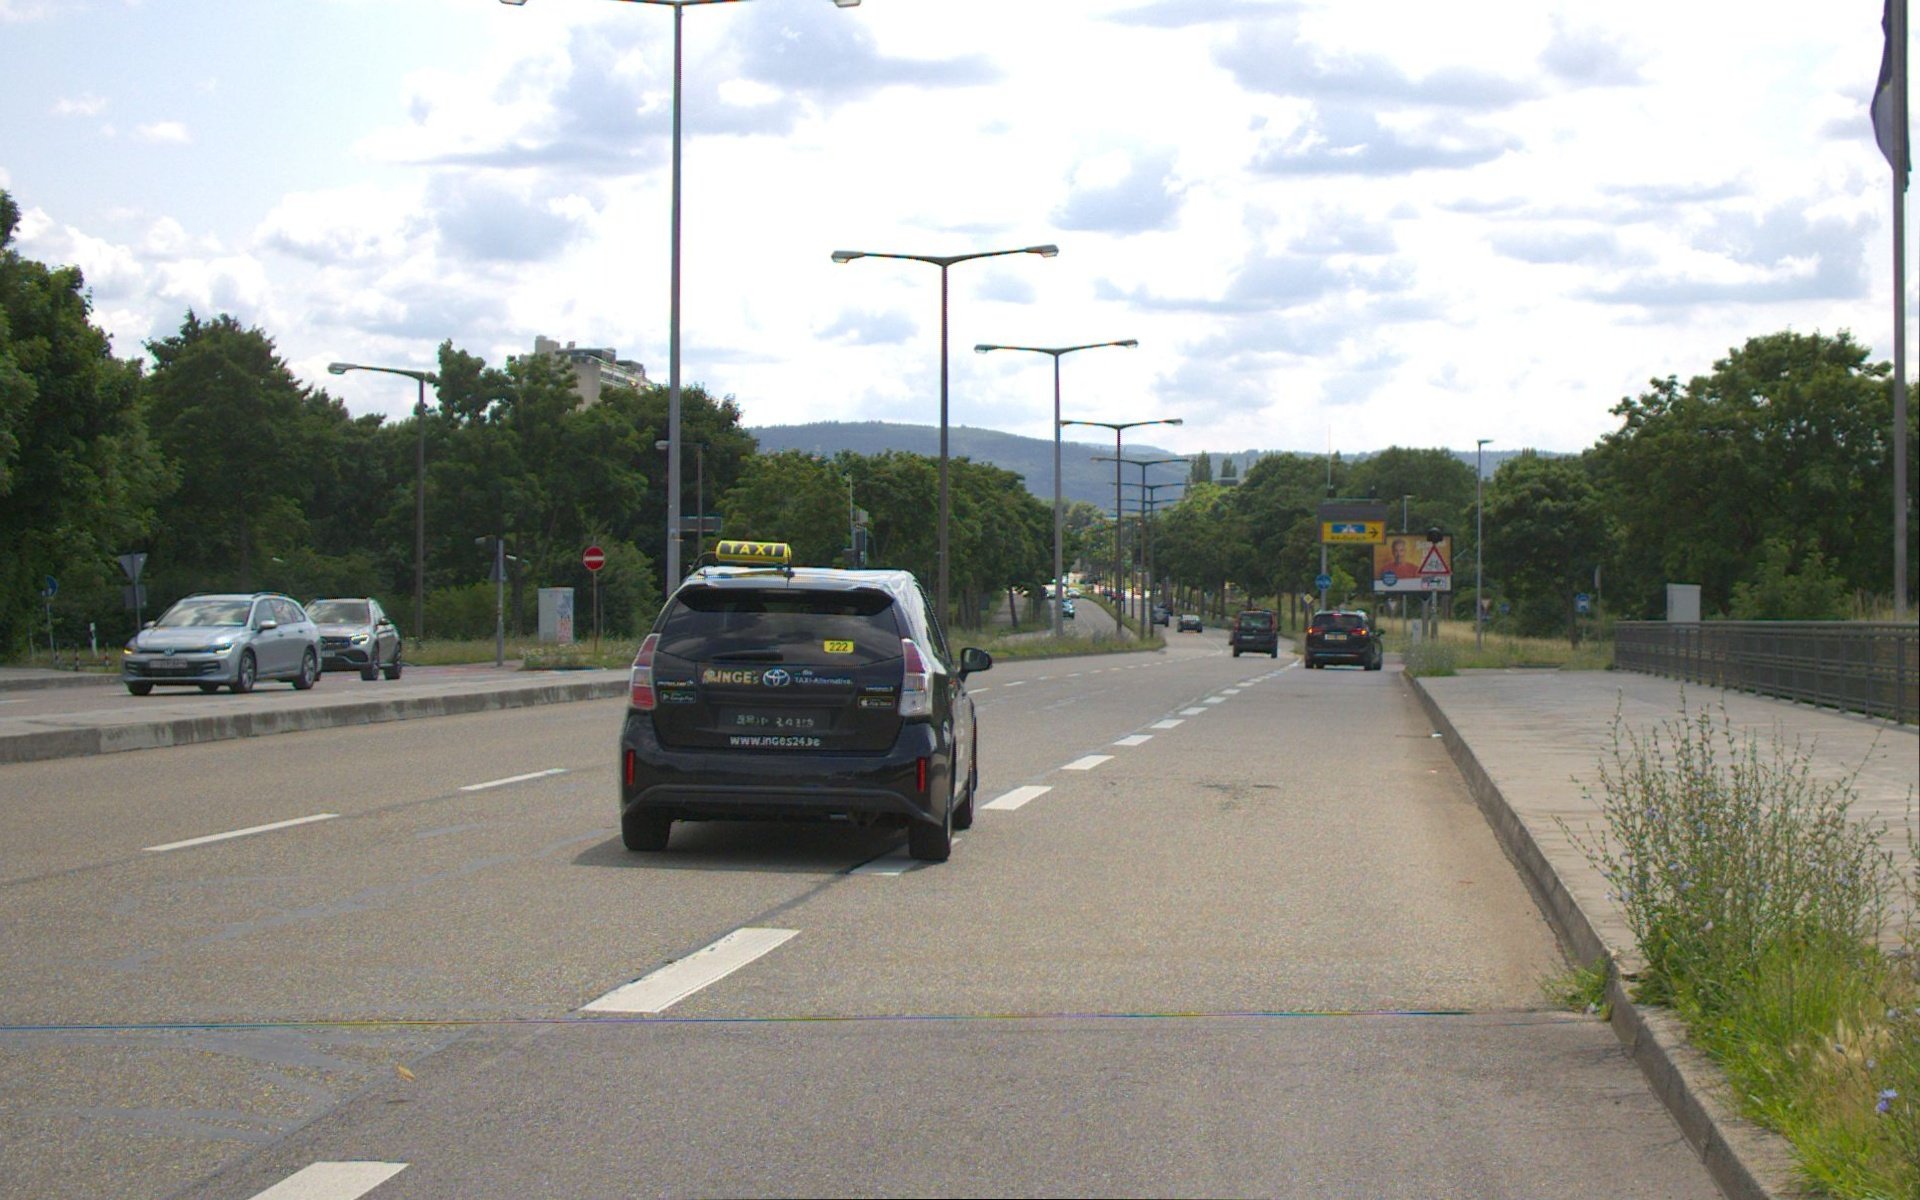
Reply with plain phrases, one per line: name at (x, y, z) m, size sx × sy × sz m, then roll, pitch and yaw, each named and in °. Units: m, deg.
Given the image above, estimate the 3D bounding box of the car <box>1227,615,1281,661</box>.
car at (11.875, 1.528, 139.145) m, size 1.994 × 1.656 × 4.000 m, roll 2°, pitch 1°, yaw 3°

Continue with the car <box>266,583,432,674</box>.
car at (-12.016, 0.524, 67.861) m, size 2.088 × 1.621 × 4.549 m, roll 2°, pitch 1°, yaw 5°

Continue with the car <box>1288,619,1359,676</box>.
car at (11.665, 1.514, 110.400) m, size 1.994 × 1.656 × 4.000 m, roll 2°, pitch 1°, yaw 3°

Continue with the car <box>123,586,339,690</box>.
car at (-10.780, 0.532, 51.157) m, size 1.664 × 1.408 × 4.548 m, roll -2°, pitch 0°, yaw 8°

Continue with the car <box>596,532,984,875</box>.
car at (-0.852, 0.495, 19.456) m, size 1.779 × 1.678 × 4.000 m, roll 2°, pitch 1°, yaw 2°

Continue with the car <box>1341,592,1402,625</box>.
car at (23.126, 0.480, 193.368) m, size 1.993 × 1.656 × 4.001 m, roll 2°, pitch 1°, yaw -16°

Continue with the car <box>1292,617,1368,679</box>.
car at (10.981, 1.422, 102.271) m, size 1.994 × 1.656 × 4.000 m, roll 2°, pitch 1°, yaw 3°
